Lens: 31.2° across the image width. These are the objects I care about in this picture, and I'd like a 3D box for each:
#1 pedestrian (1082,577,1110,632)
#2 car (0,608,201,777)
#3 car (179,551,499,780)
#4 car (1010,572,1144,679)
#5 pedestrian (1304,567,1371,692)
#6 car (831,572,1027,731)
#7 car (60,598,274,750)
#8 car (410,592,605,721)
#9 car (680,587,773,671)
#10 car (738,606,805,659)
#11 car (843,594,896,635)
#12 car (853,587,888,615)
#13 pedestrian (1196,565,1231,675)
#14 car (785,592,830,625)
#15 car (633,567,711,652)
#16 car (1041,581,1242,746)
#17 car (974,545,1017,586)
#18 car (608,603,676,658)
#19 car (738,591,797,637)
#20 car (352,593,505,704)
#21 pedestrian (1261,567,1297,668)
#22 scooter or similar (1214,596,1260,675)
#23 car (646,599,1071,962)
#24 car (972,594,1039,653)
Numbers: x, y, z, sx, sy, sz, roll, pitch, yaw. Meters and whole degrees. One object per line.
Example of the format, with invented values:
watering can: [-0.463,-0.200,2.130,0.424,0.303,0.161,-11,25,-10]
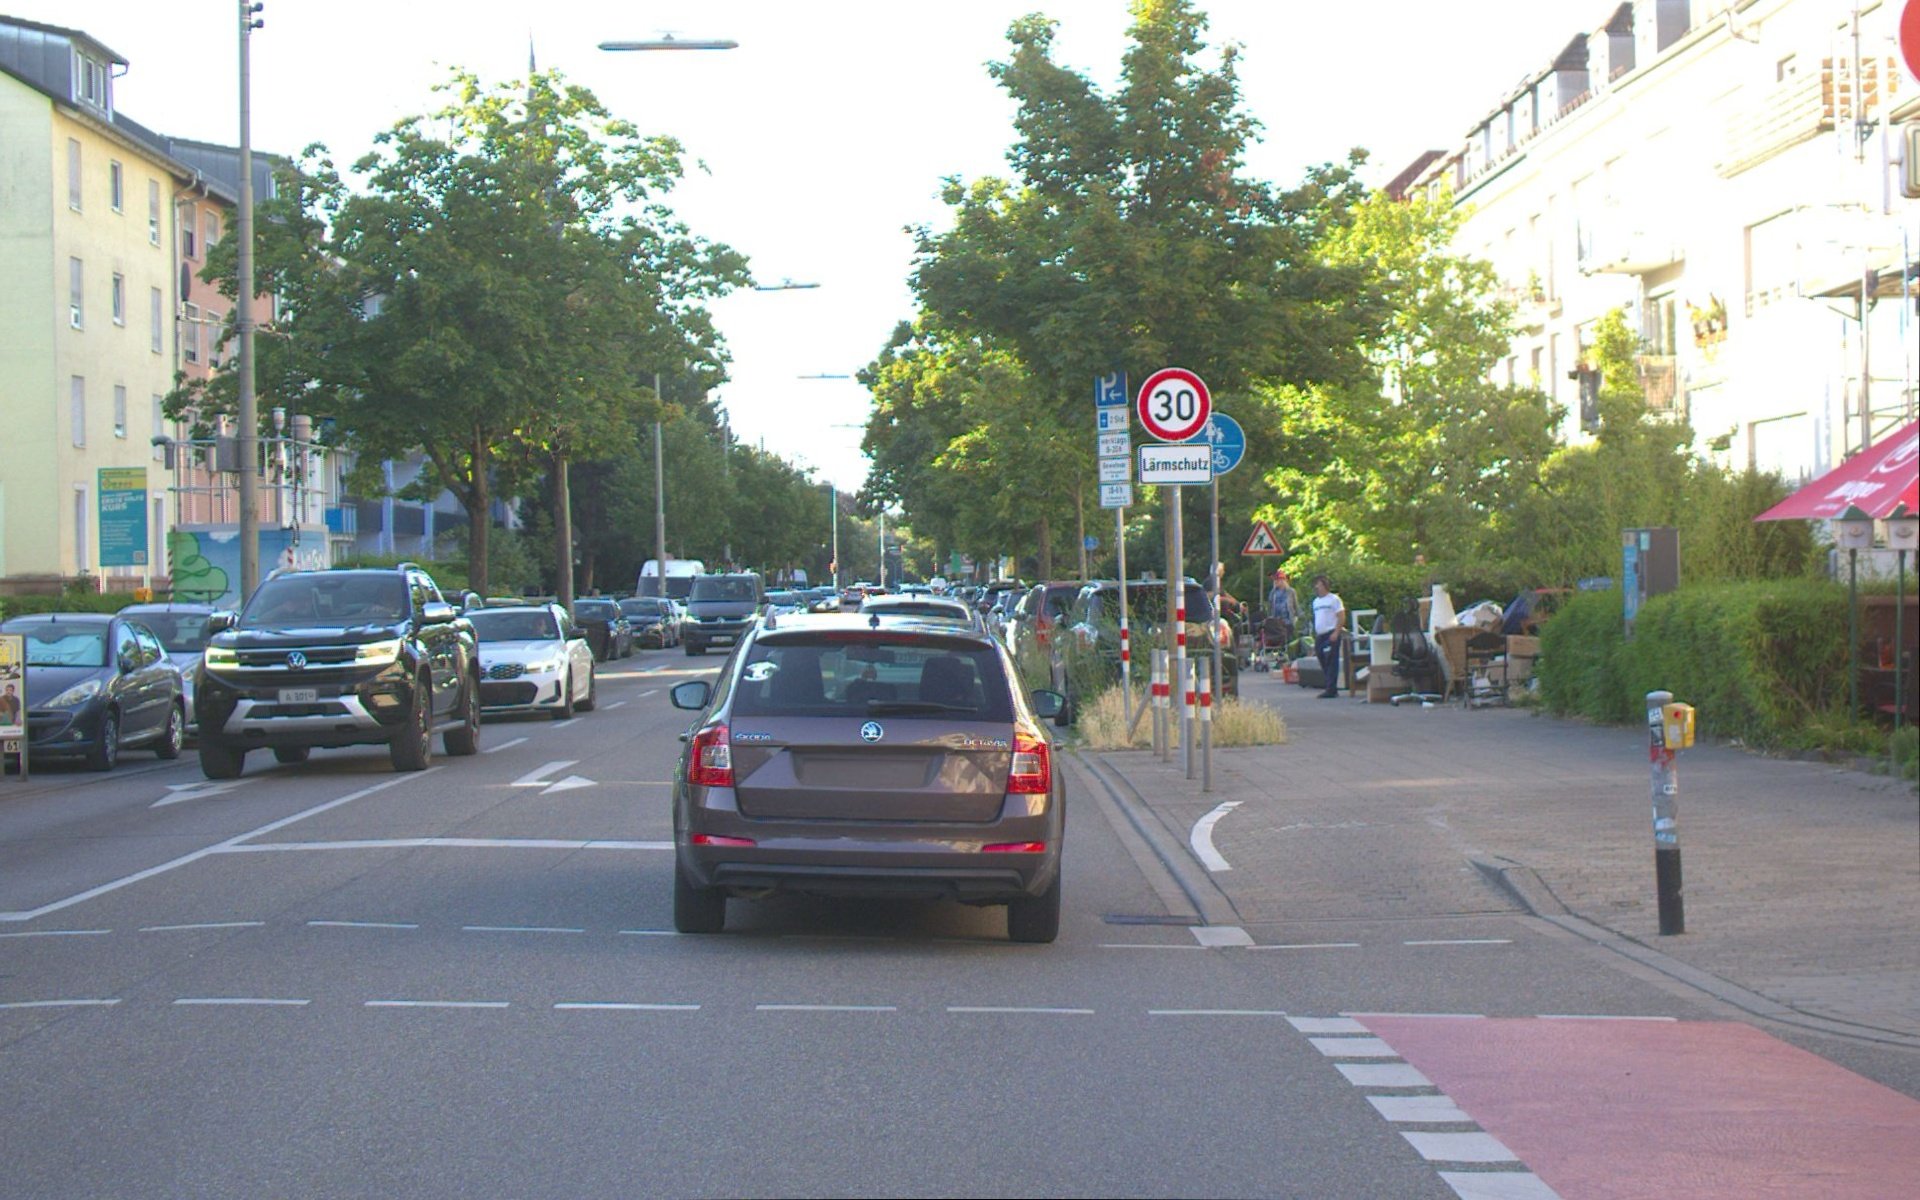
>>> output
pedestrian: [4.695,0.145,118.650,0.799,1.855,0.950,-2,0,10]
car: [-8.460,0.827,32.473,1.653,1.474,3.943,-1,0,1]
car: [-5.509,0.546,31.161,1.862,1.823,5.227,-3,0,0]
car: [1.847,0.389,55.595,1.721,1.650,4.598,0,0,-3]
pedestrian: [4.775,0.370,43.472,0.555,1.562,0.748,-1,0,-19]
car: [-0.347,0.548,36.410,1.892,1.501,3.790,3,-1,-1]
car: [-8.554,0.762,37.344,1.637,1.547,3.786,-1,0,-3]
car: [-5.655,0.679,43.503,1.836,1.468,4.671,-2,0,-1]
car: [-5.817,0.704,86.074,1.993,1.939,4.778,-3,0,-1]
car: [-5.538,0.942,101.403,1.815,1.441,4.110,-3,0,-2]
car: [-3.320,0.526,126.041,1.780,1.475,3.971,1,0,-4]
car: [-5.885,0.063,225.818,1.993,1.744,4.001,-1,0,-6]
pedestrian: [4.289,0.340,58.143,0.548,1.843,0.764,-1,0,6]
car: [-6.991,0.384,158.358,1.700,1.465,4.294,-2,0,2]
car: [-9.067,0.281,108.743,1.993,2.607,7.105,0,0,-1]
car: [1.855,0.627,36.295,1.792,1.626,4.029,-1,0,-1]
car: [1.517,-1.429,145.154,1.754,1.681,4.252,1,0,1]
car: [-8.993,0.848,97.439,1.612,1.468,3.813,1,0,-1]
car: [-6.711,0.484,120.324,1.832,1.465,4.452,-4,0,-1]
car: [-8.729,0.765,56.759,1.784,1.727,4.617,-1,0,0]
pedestrian: [5.422,0.296,58.457,0.510,1.691,0.527,-1,0,-5]
scooter or similar: [4.681,0.600,58.093,0.746,1.313,0.721,-1,0,6]
car: [-0.388,0.750,16.338,1.754,1.487,4.000,1,0,1]
car: [1.238,0.636,95.731,1.718,1.596,4.096,-1,0,-1]
